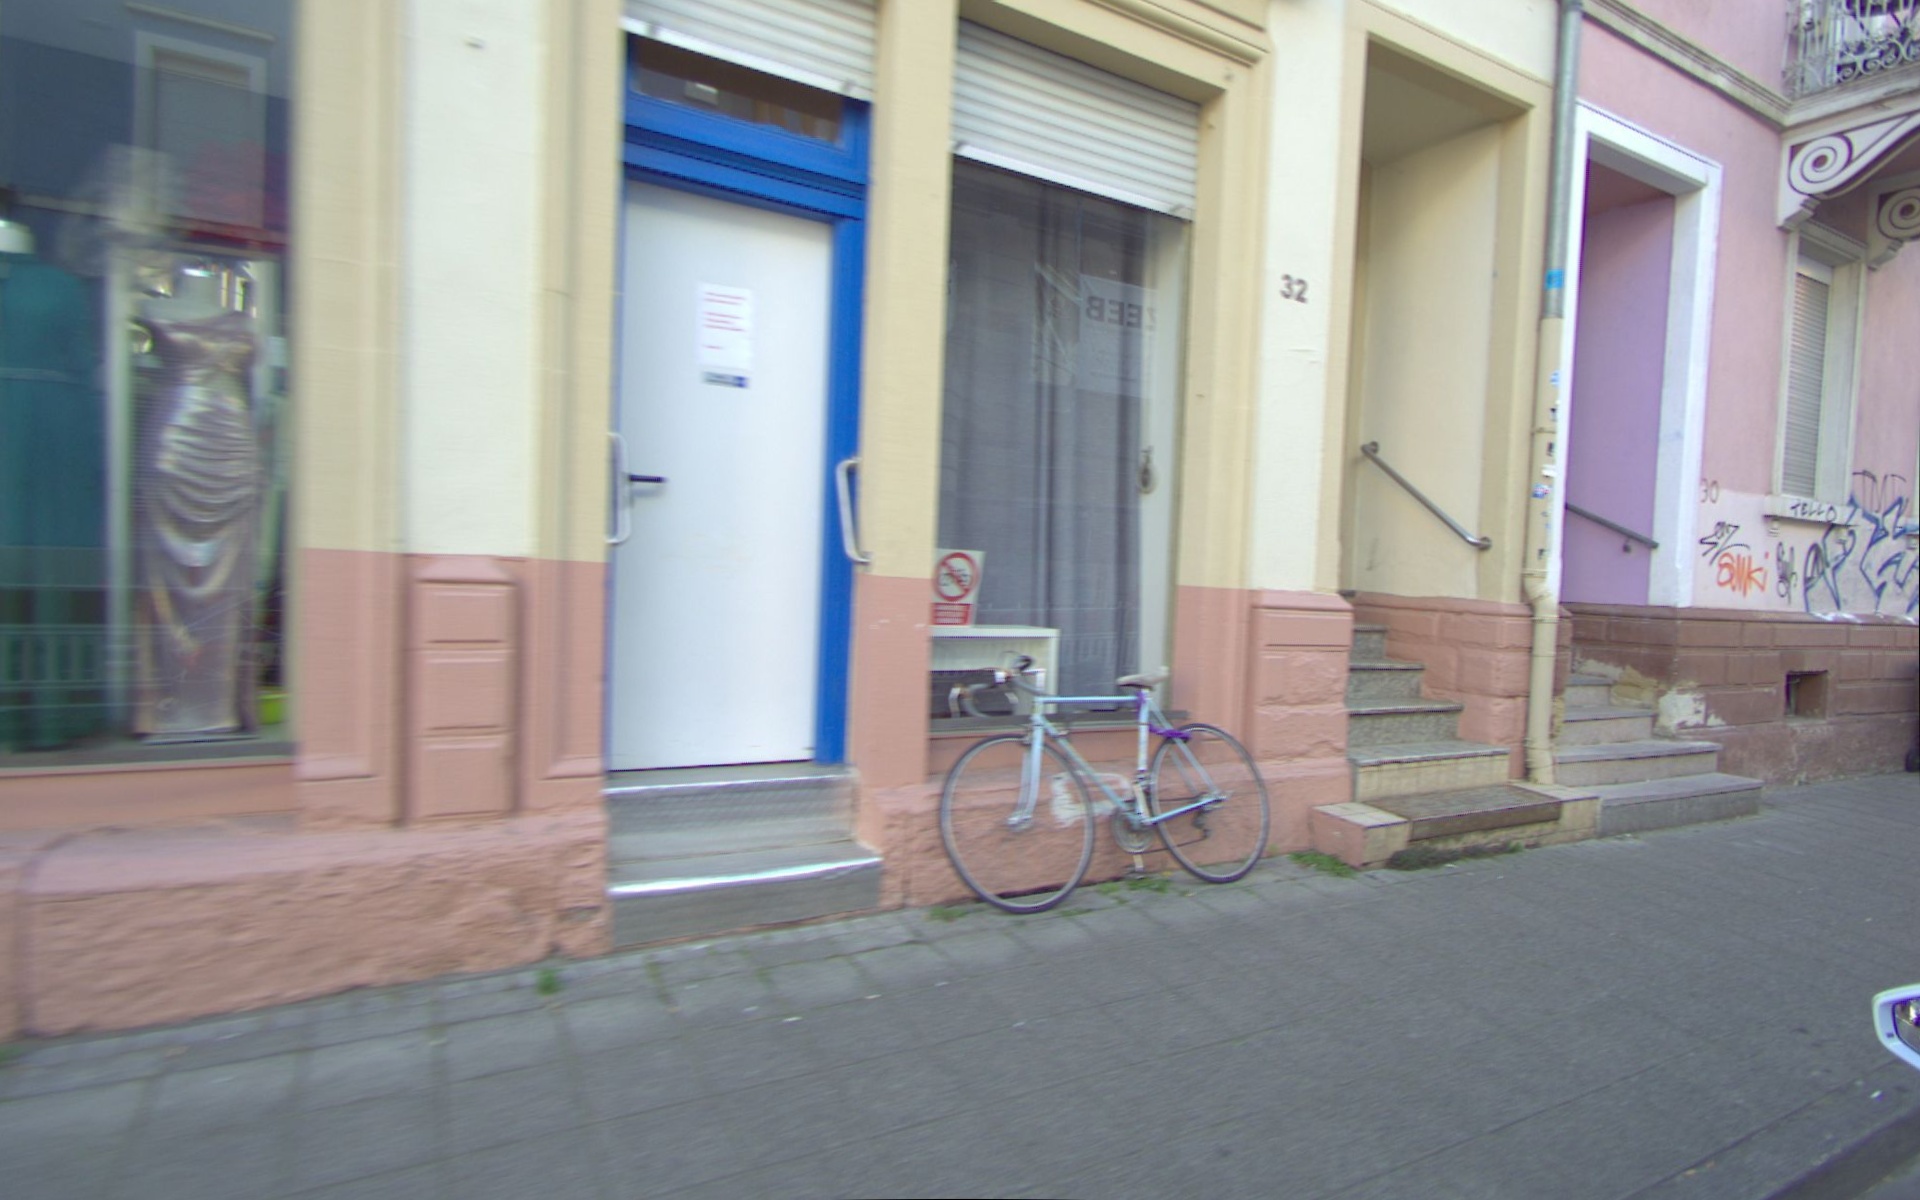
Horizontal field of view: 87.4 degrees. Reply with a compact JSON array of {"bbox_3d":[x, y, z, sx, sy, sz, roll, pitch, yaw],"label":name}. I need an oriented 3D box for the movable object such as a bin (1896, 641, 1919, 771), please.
[{"bbox_3d":[8.170,0.886,8.170,0.589,1.049,0.602,2,3,-31],"label":"movable object such as a bin"}]

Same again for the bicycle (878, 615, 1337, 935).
[{"bbox_3d":[0.632,0.614,4.074,1.796,1.036,0.619,1,3,-29],"label":"bicycle"}]
